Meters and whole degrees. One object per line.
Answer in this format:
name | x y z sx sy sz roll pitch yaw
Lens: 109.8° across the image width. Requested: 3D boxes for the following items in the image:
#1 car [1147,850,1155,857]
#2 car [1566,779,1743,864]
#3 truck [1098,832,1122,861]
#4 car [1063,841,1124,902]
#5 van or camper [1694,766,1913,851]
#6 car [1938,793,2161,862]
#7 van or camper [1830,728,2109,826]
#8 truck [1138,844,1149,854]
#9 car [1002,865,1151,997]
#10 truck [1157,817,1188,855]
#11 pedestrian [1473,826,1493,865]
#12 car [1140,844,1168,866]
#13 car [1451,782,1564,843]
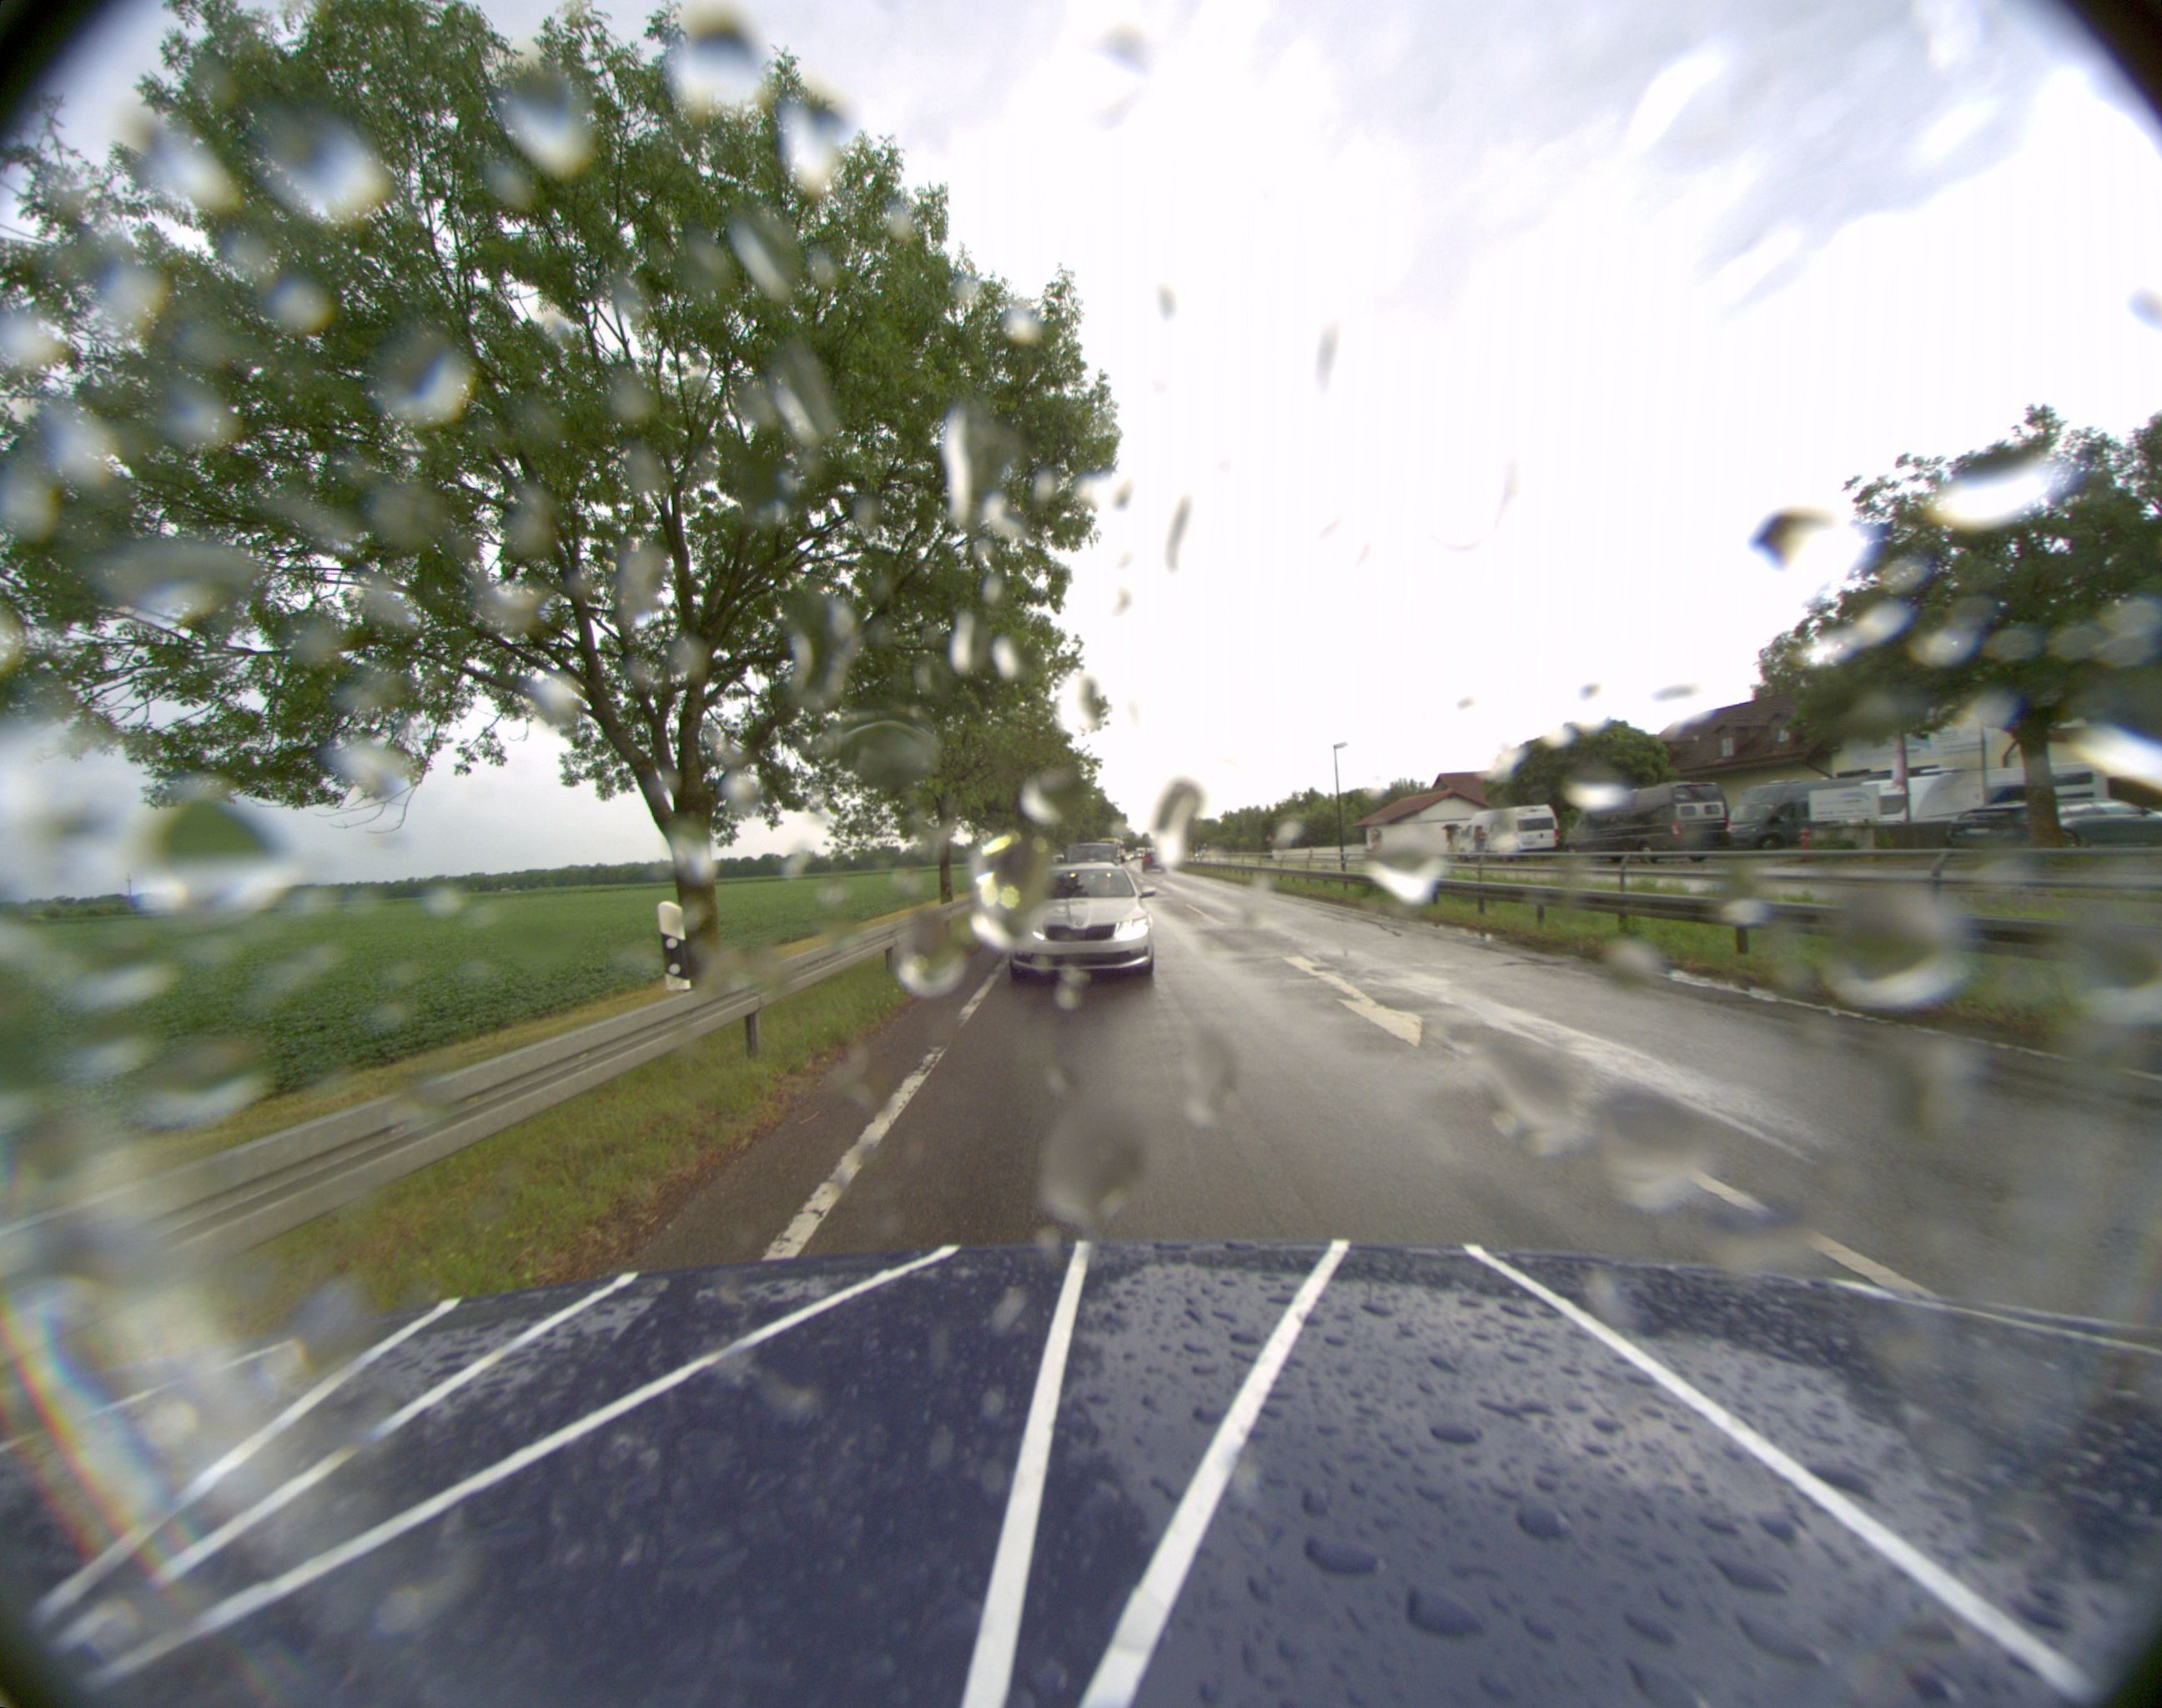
car | 20.900 -0.262 228.315 1.998 2.002 4.100 -4 0 1
car | 21.358 -1.133 28.733 2.389 2.747 5.573 -4 0 1
truck | 3.820 -0.945 100.084 2.751 3.547 8.387 -4 0 2
car | 0.413 0.561 26.113 1.903 1.884 4.000 -1 0 0
van or camper | 27.813 -1.694 29.426 6.069 2.785 2.434 -4 0 -1
car | 25.260 -0.673 19.851 3.894 1.487 1.540 -4 0 1
van or camper | 29.329 -2.483 25.272 6.239 2.576 2.562 -4 0 -1
truck | 17.688 -1.425 214.329 2.800 2.461 7.169 -4 0 4
car | -0.040 0.928 10.837 1.705 1.438 4.000 -1 0 0
truck | 12.925 -2.498 107.844 3.257 5.004 7.783 -4 0 0
pedestrian | 17.939 -0.385 33.932 0.516 1.701 0.650 -3 1 9
car | 5.753 0.096 60.030 1.768 1.610 4.000 -2 0 0
car | 21.075 -1.944 37.947 2.243 2.565 6.019 -4 0 1
